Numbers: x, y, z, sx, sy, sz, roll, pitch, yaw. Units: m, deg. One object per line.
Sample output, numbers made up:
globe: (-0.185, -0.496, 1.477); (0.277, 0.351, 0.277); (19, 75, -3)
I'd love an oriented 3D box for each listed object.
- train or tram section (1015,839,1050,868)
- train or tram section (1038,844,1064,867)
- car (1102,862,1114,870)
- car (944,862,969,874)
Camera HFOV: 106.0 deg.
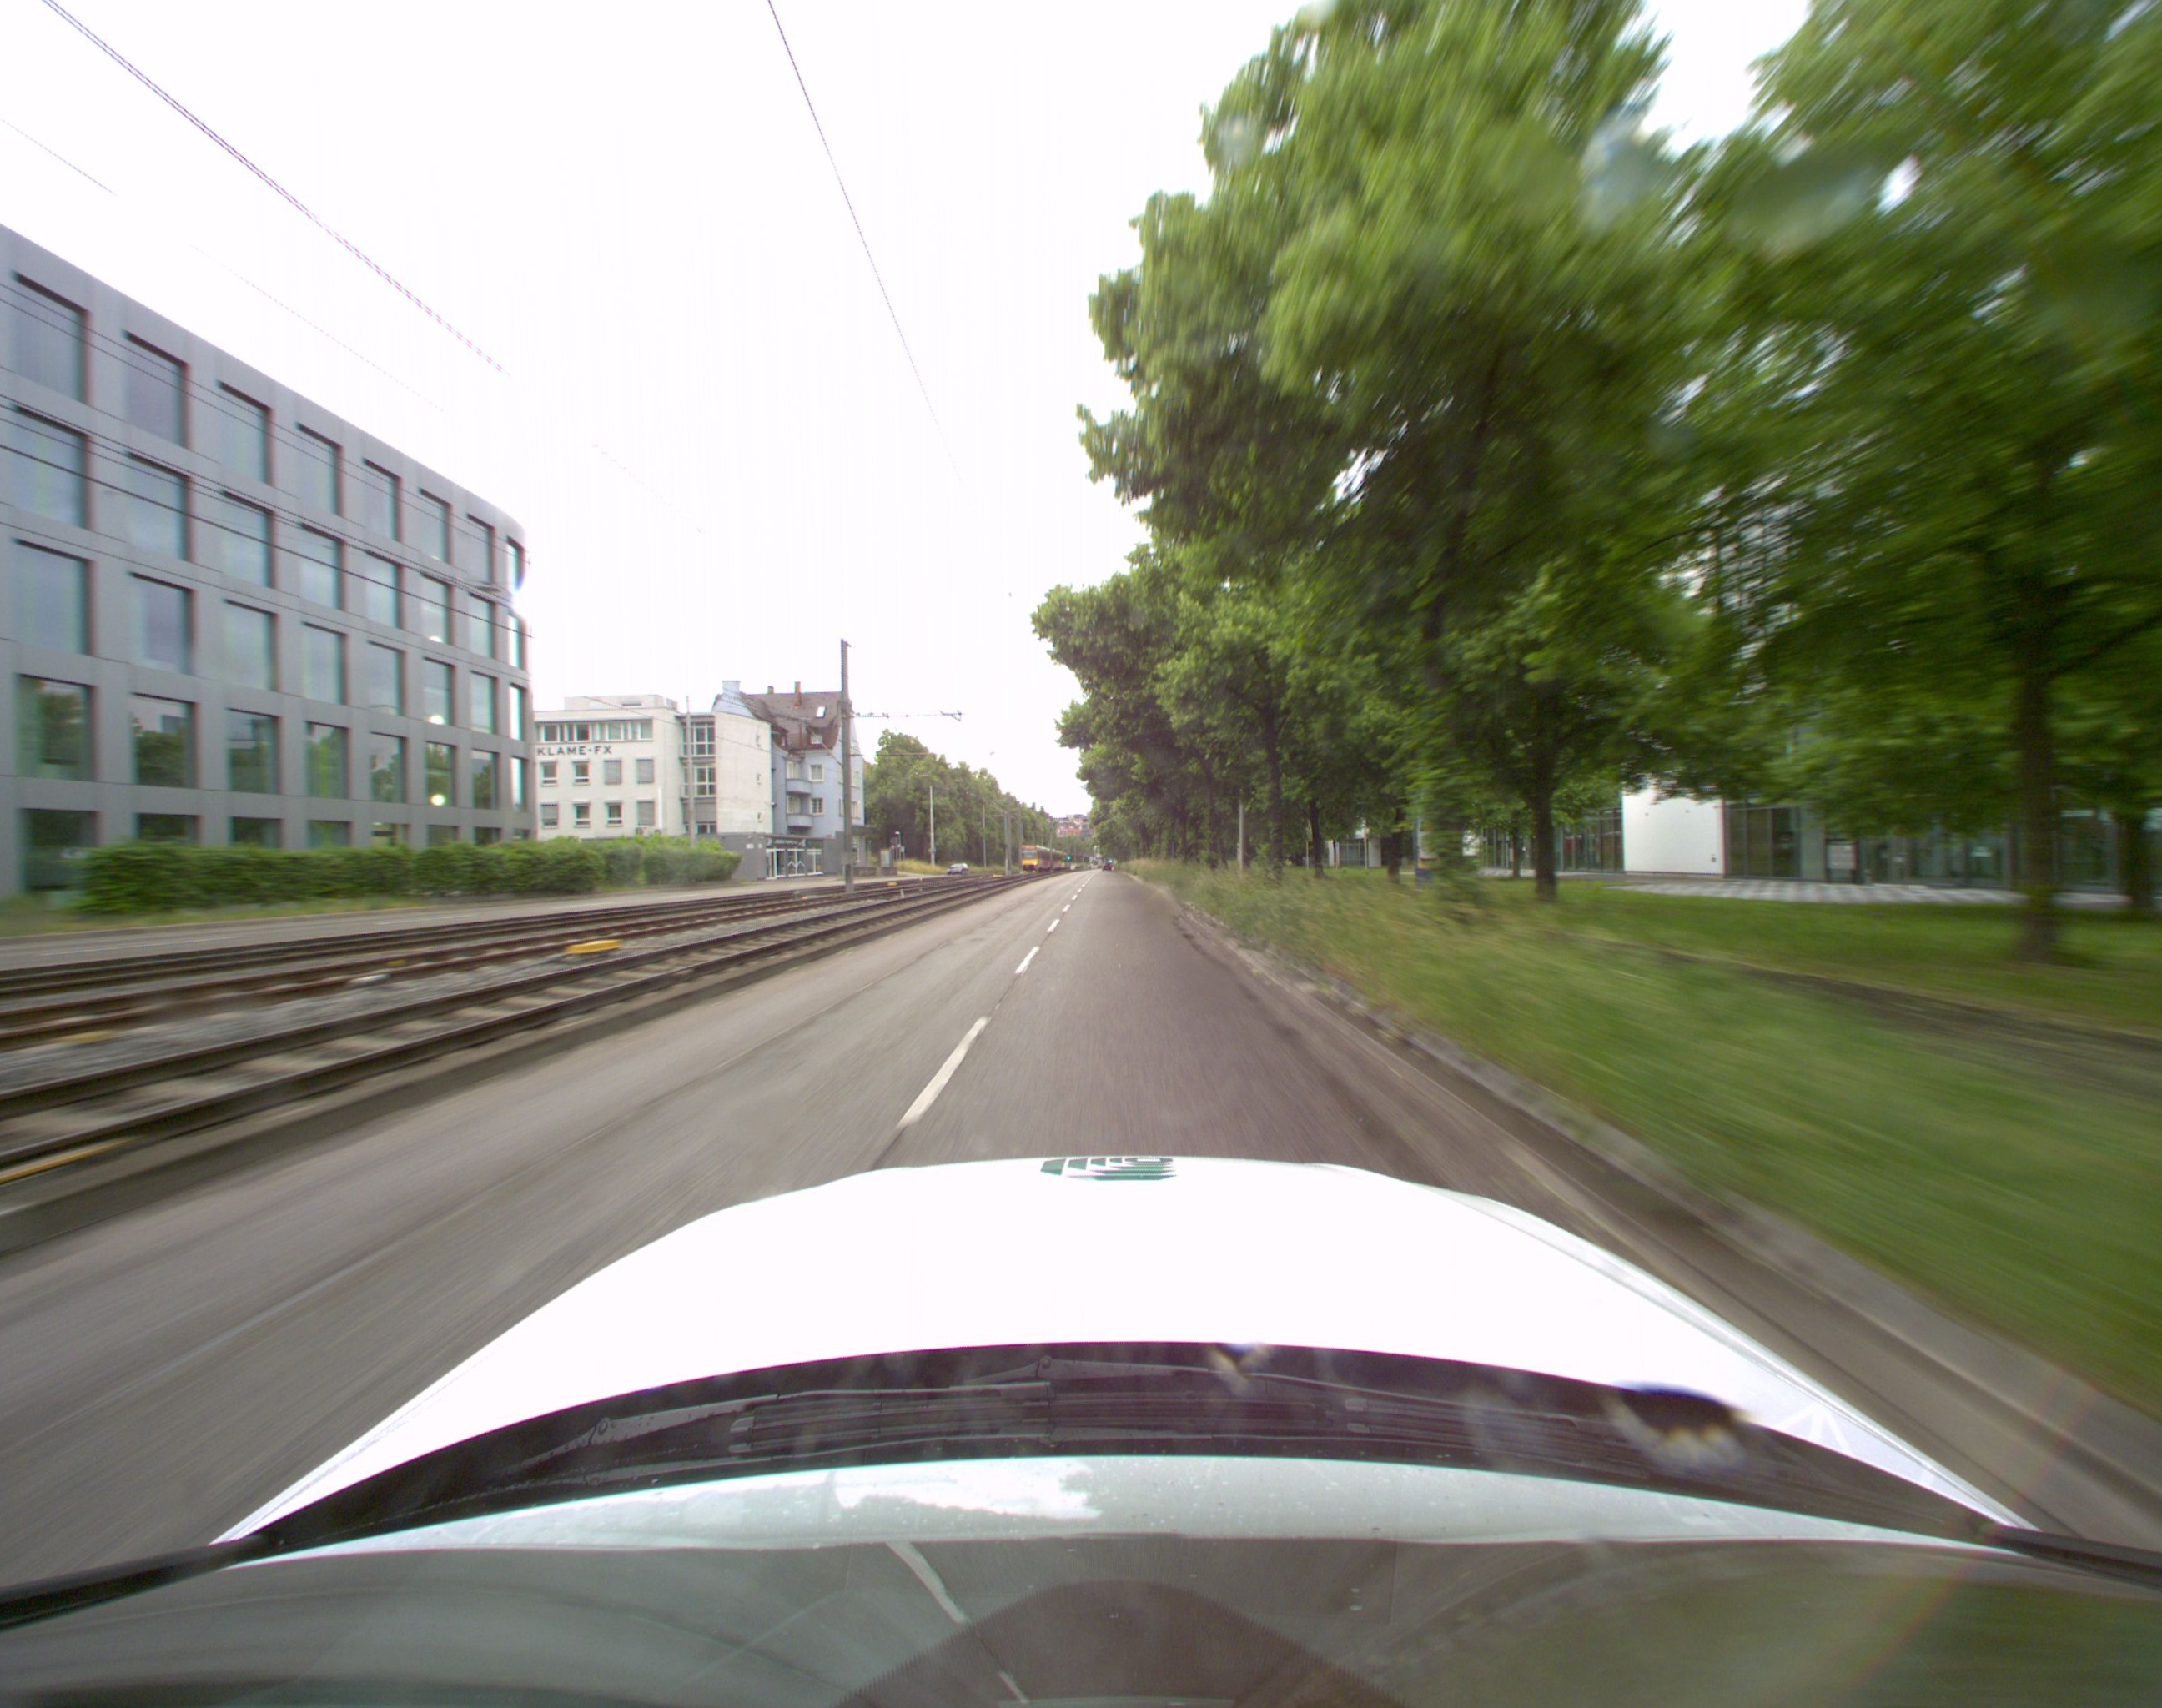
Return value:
train or tram section: (-6.813, 0.080, 115.982); (3.201, 3.796, 14.800); (-1, -1, 3)
train or tram section: (-5.209, 0.417, 145.620); (3.201, 3.796, 14.800); (-1, -1, 3)
car: (4.910, 2.181, 148.171); (1.974, 1.440, 4.476); (-1, 0, 2)
car: (-14.345, 1.580, 93.831); (1.894, 1.325, 4.829); (-1, -1, 3)
